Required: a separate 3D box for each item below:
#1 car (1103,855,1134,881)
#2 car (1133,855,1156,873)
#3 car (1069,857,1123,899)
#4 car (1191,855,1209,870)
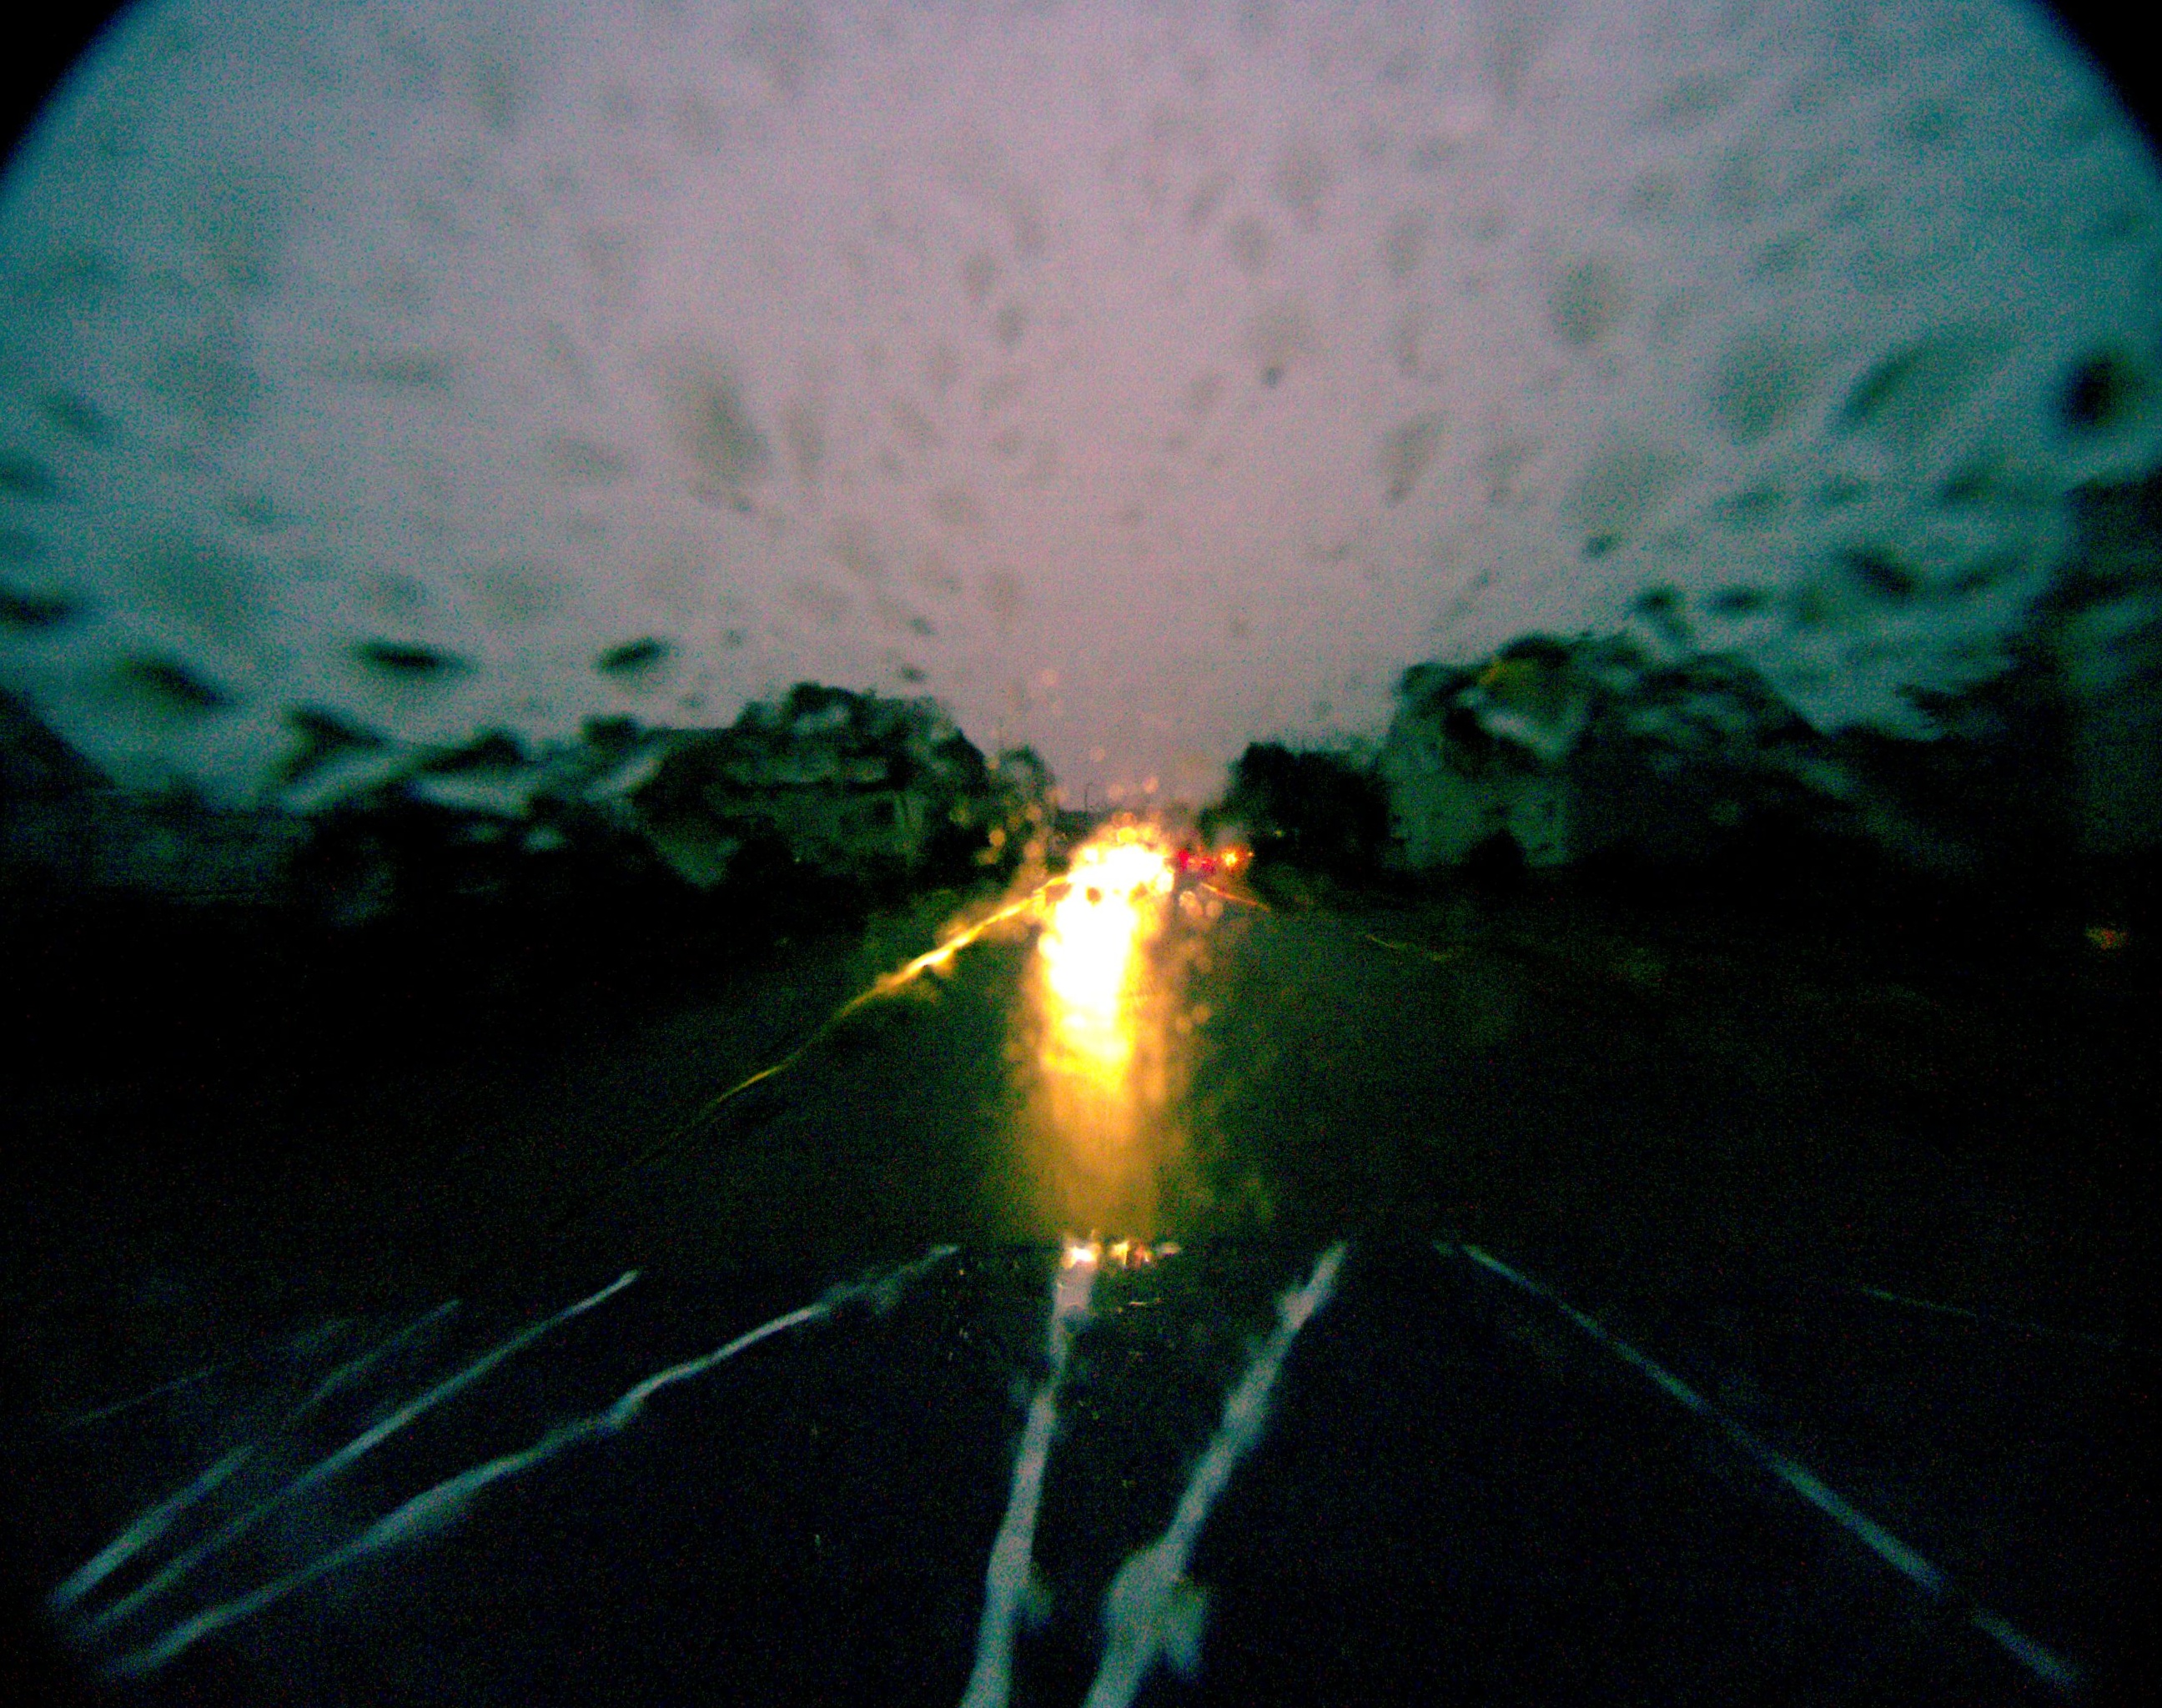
[{"bbox_3d":[2.479,0.901,51.296,1.998,1.660,4.000,-1,0,2],"label":"car"},{"bbox_3d":[6.303,0.985,74.871,1.774,1.608,3.875,-1,1,11],"label":"car"},{"bbox_3d":[0.548,0.892,30.200,1.998,1.575,4.000,0,0,0],"label":"car"},{"bbox_3d":[14.266,1.007,91.175,1.966,1.688,4.003,-1,1,10],"label":"car"}]
